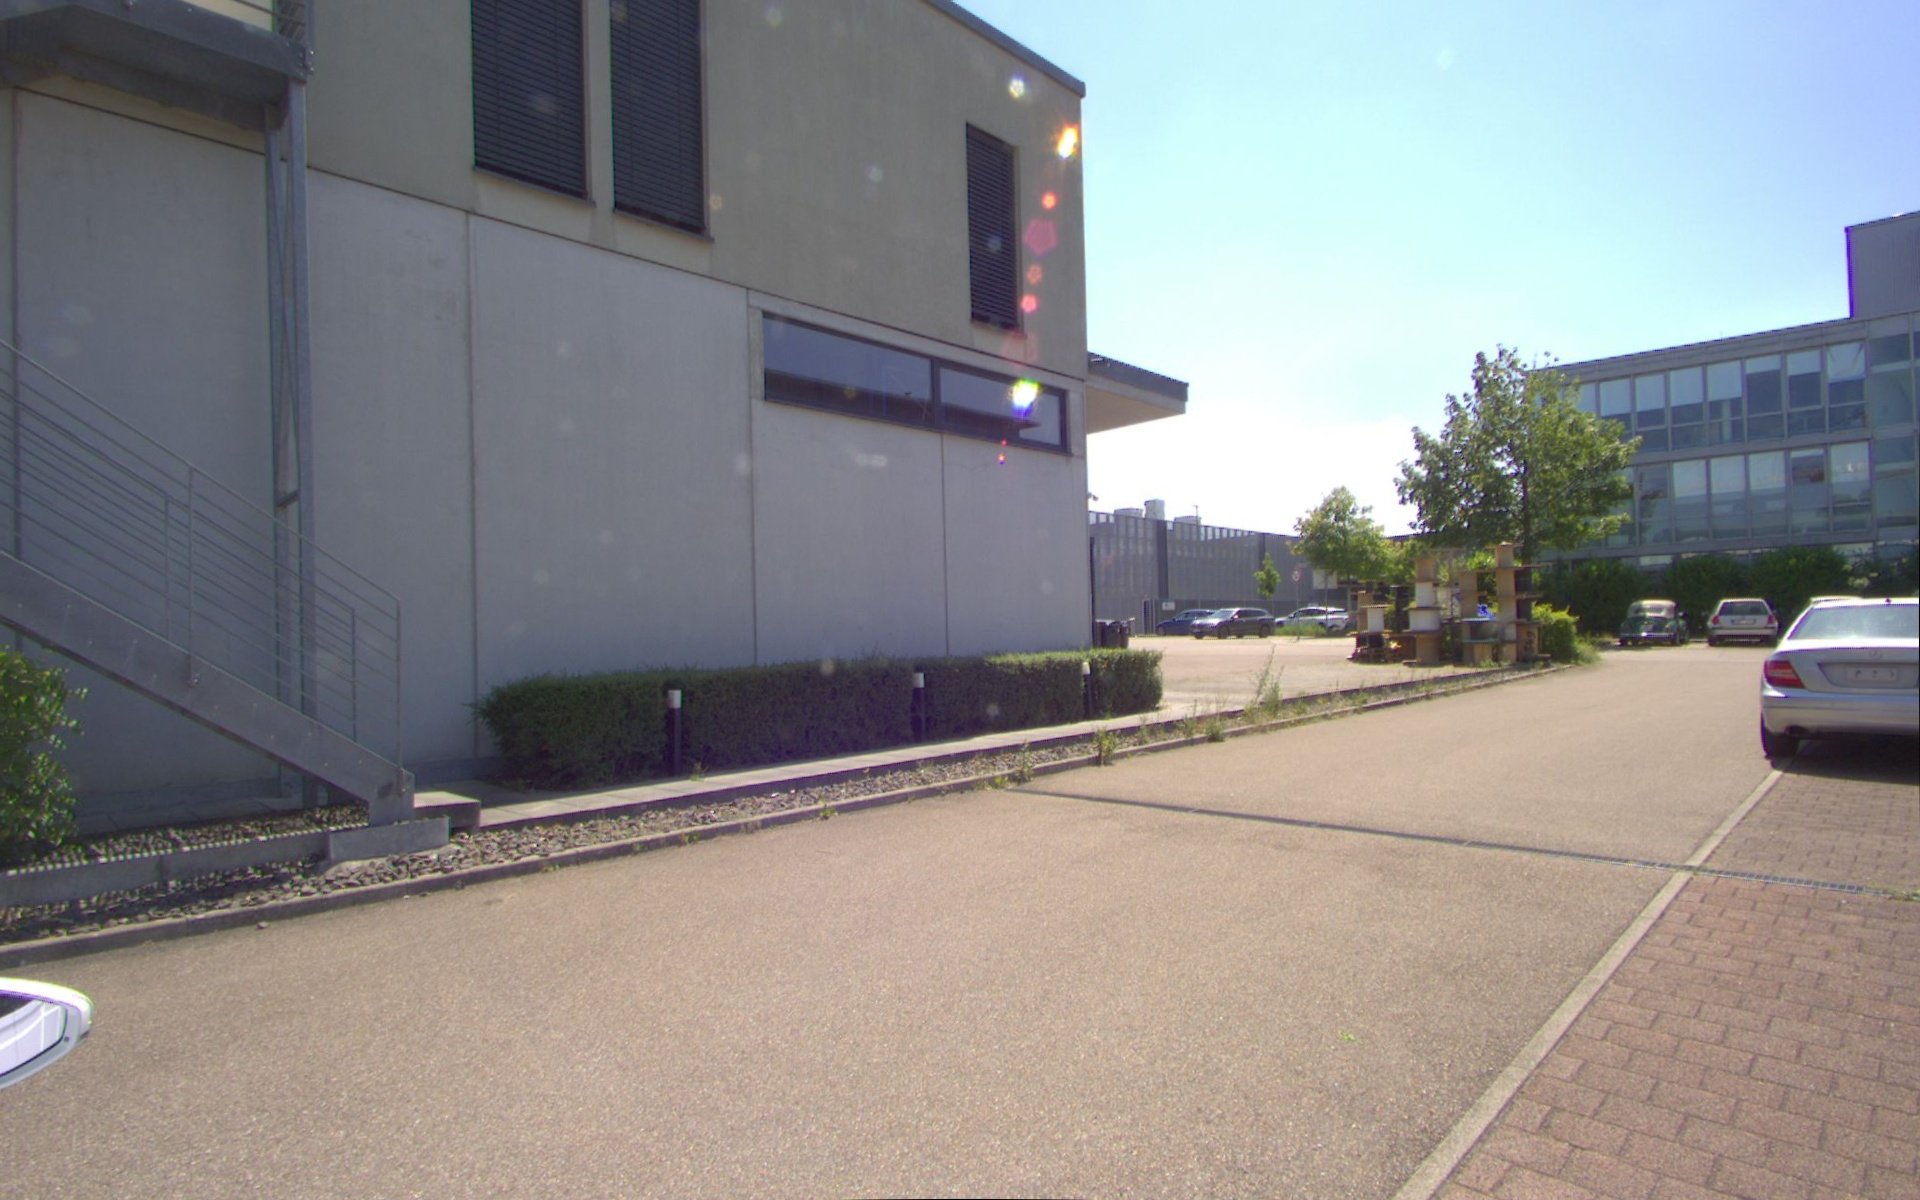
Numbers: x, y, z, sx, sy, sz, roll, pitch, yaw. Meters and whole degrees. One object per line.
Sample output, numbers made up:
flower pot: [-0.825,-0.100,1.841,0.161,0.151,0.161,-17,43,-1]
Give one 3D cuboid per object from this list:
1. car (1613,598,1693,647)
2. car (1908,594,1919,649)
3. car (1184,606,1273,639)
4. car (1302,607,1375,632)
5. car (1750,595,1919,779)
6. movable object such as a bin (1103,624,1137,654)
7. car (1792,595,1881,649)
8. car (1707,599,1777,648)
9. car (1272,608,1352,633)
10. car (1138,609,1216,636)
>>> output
car: [22.986,0.759,33.172,1.730,1.538,3.968,-2,-2,41]
car: [28.252,0.607,28.544,1.732,1.538,3.964,-2,-2,44]
car: [13.060,1.096,48.751,4.110,1.539,1.647,0,-1,-25]
car: [23.198,1.217,61.503,1.726,1.433,4.043,1,-2,-32]
car: [8.754,0.719,9.369,3.682,1.455,1.713,1,-2,-45]
movable object such as a bin: [5.345,1.308,33.490,0.809,0.993,0.803,-1,-1,44]
car: [26.754,0.673,30.670,1.727,1.538,3.973,-1,-2,37]
car: [24.744,0.761,31.768,1.653,1.459,3.973,-1,-2,37]
car: [21.022,1.253,59.881,1.726,1.433,4.423,1,-2,-32]
car: [12.092,1.270,55.953,1.725,1.433,4.425,1,-2,-31]
